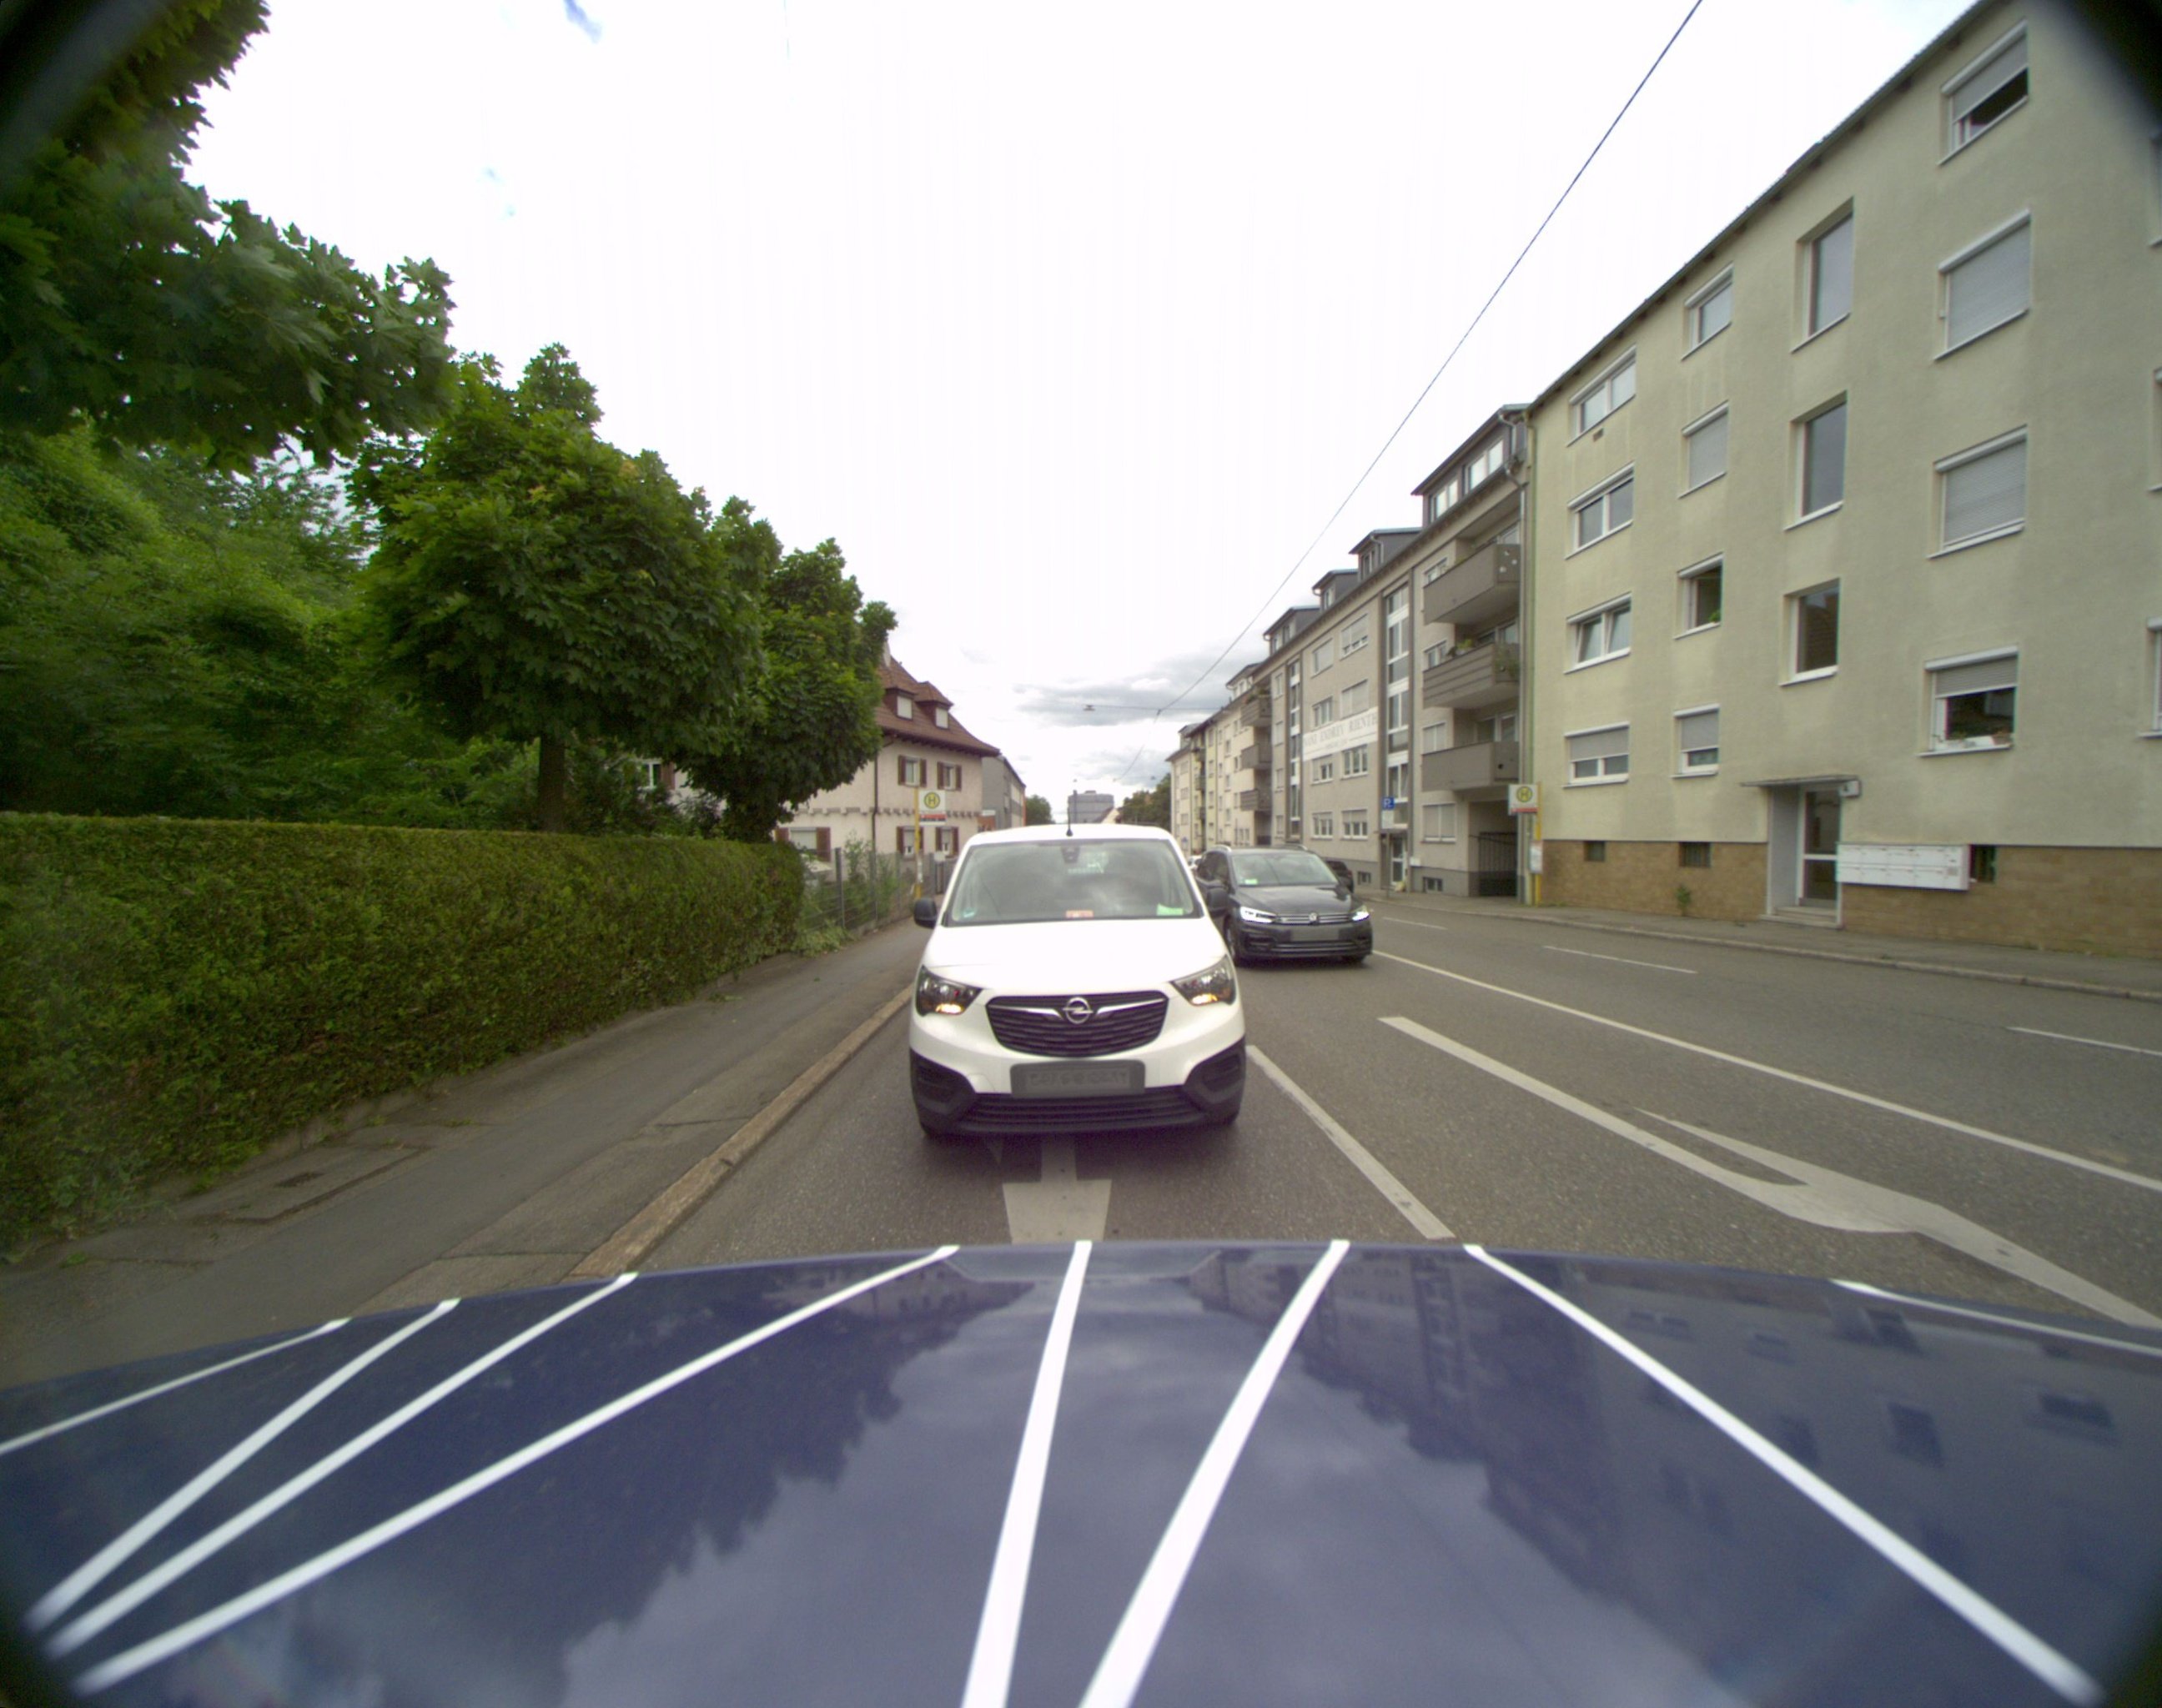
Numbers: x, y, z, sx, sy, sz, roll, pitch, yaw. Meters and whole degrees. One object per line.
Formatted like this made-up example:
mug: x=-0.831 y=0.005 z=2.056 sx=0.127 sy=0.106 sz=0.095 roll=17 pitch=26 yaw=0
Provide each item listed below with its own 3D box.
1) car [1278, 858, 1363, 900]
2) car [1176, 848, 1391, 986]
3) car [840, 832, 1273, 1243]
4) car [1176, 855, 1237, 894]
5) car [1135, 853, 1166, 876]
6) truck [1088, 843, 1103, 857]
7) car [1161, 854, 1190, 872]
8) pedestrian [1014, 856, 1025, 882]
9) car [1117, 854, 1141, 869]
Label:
car: x=8.908 y=0.897 z=28.572 sx=1.776 sy=1.403 sz=3.685 roll=0 pitch=1 yaw=-5
car: x=2.752 y=0.751 z=11.492 sx=1.863 sy=1.601 sz=4.478 roll=-2 pitch=1 yaw=-2
car: x=-0.075 y=0.797 z=5.736 sx=1.862 sy=1.772 sz=4.711 roll=-2 pitch=1 yaw=1
car: x=5.178 y=0.806 z=31.930 sx=1.775 sy=1.513 sz=4.082 roll=0 pitch=1 yaw=-2
car: x=4.837 y=0.714 z=53.574 sx=1.593 sy=1.474 sz=3.597 roll=-1 pitch=1 yaw=-4
truck: x=2.680 y=-0.731 z=142.820 sx=2.547 sy=2.522 sz=5.493 roll=-1 pitch=1 yaw=-1
car: x=8.131 y=0.761 z=65.604 sx=1.776 sy=1.395 sz=3.757 roll=0 pitch=1 yaw=-5
pedestrian: x=-4.301 y=1.036 z=53.132 sx=0.648 sy=1.830 sz=0.592 roll=-1 pitch=1 yaw=-11
car: x=4.662 y=0.709 z=74.106 sx=1.776 sy=1.395 sz=3.642 roll=0 pitch=1 yaw=-5
